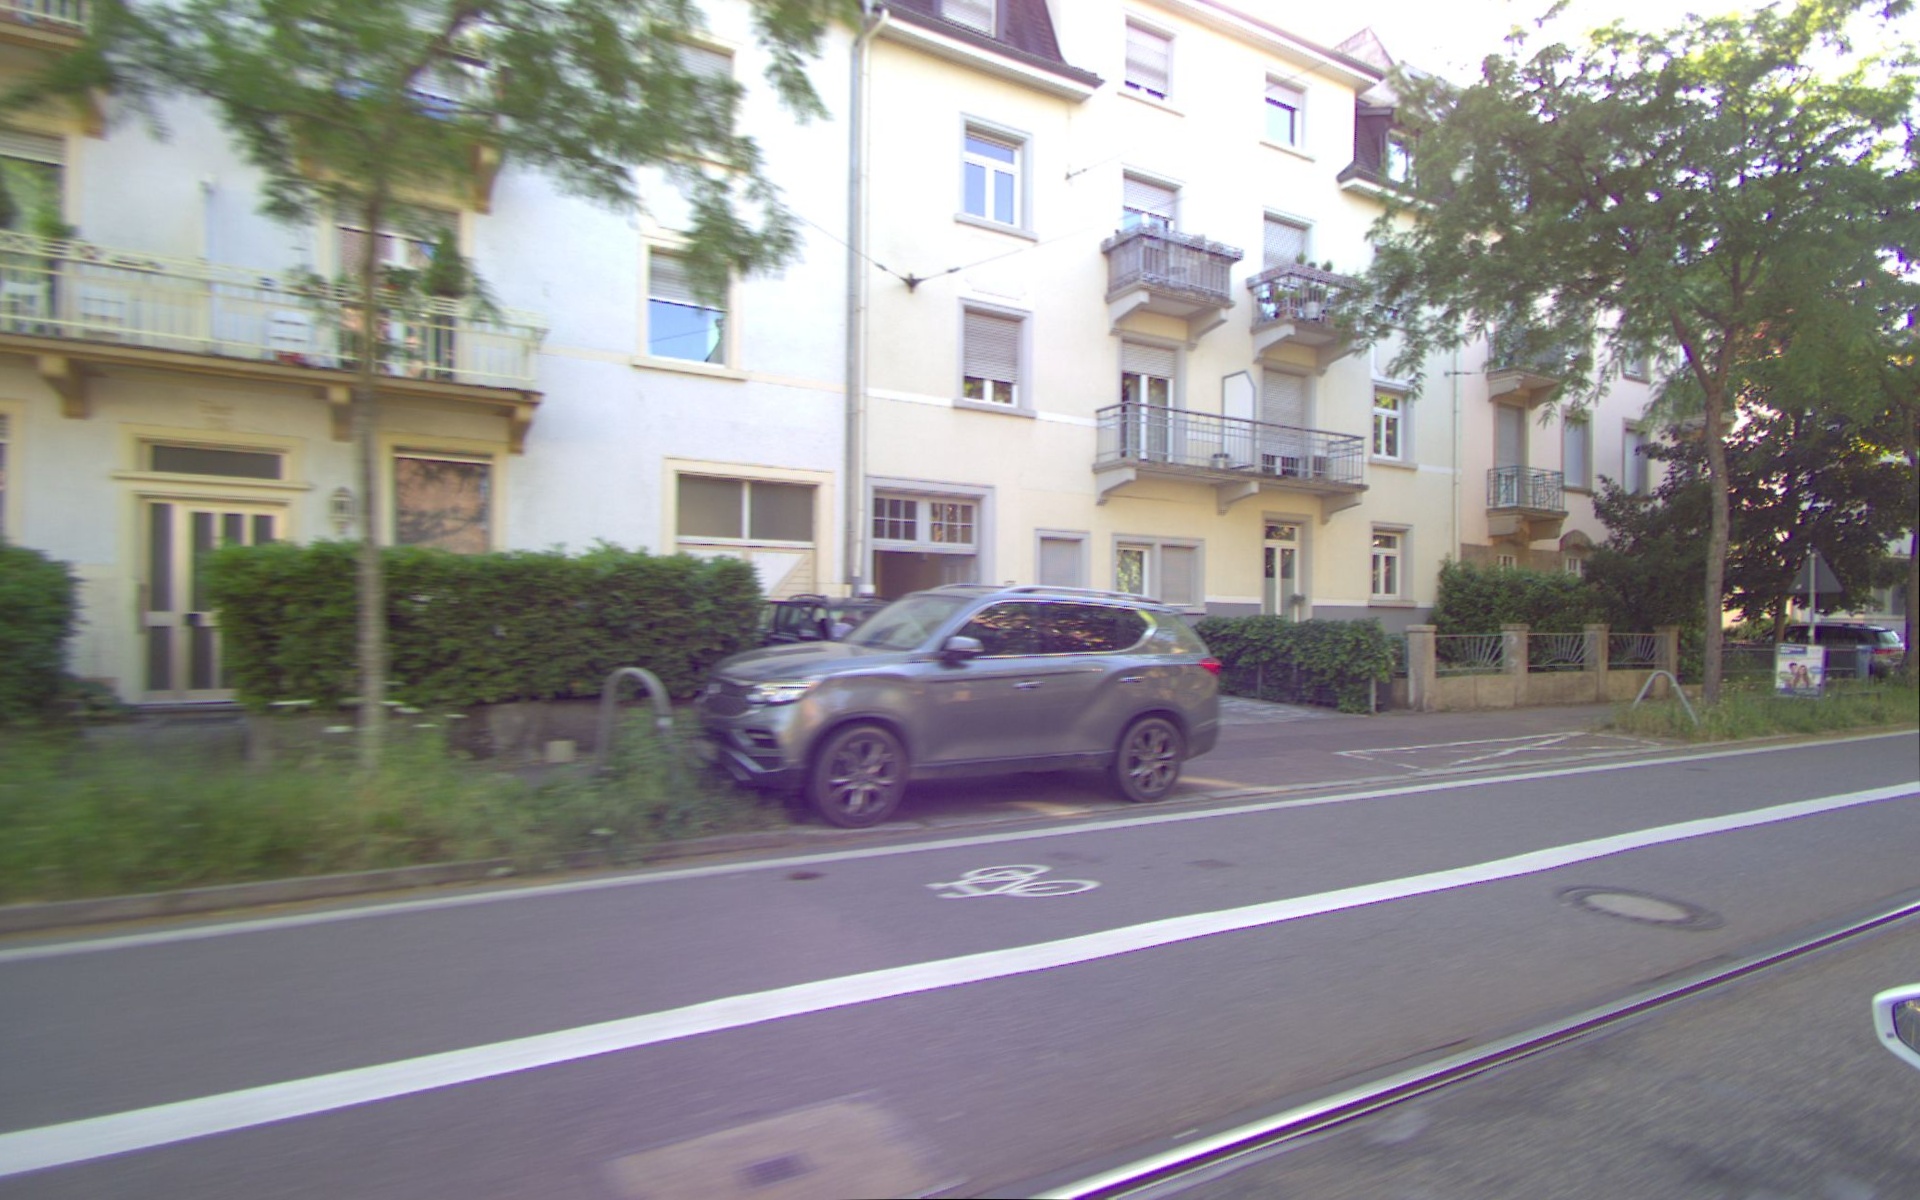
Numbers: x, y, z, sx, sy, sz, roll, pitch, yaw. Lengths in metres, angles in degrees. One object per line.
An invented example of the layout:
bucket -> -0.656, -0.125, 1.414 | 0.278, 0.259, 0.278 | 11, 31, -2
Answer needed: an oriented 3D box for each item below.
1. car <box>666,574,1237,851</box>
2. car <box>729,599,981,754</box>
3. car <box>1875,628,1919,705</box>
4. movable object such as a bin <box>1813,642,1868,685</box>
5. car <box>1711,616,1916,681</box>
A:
car -> 0.060, 0.790, 8.763 | 4.719, 1.847, 1.860 | 1, 0, -32
car -> -1.608, 0.873, 13.611 | 1.928, 1.683, 4.283 | 1, 0, -28
car -> 21.875, 1.436, 21.784 | 4.433, 1.562, 1.768 | 1, 0, -30
movable object such as a bin -> 23.217, 1.665, 26.494 | 0.804, 1.080, 0.871 | 1, -1, -30
car -> 24.664, 1.347, 29.191 | 1.961, 1.681, 4.145 | 1, 0, -31
